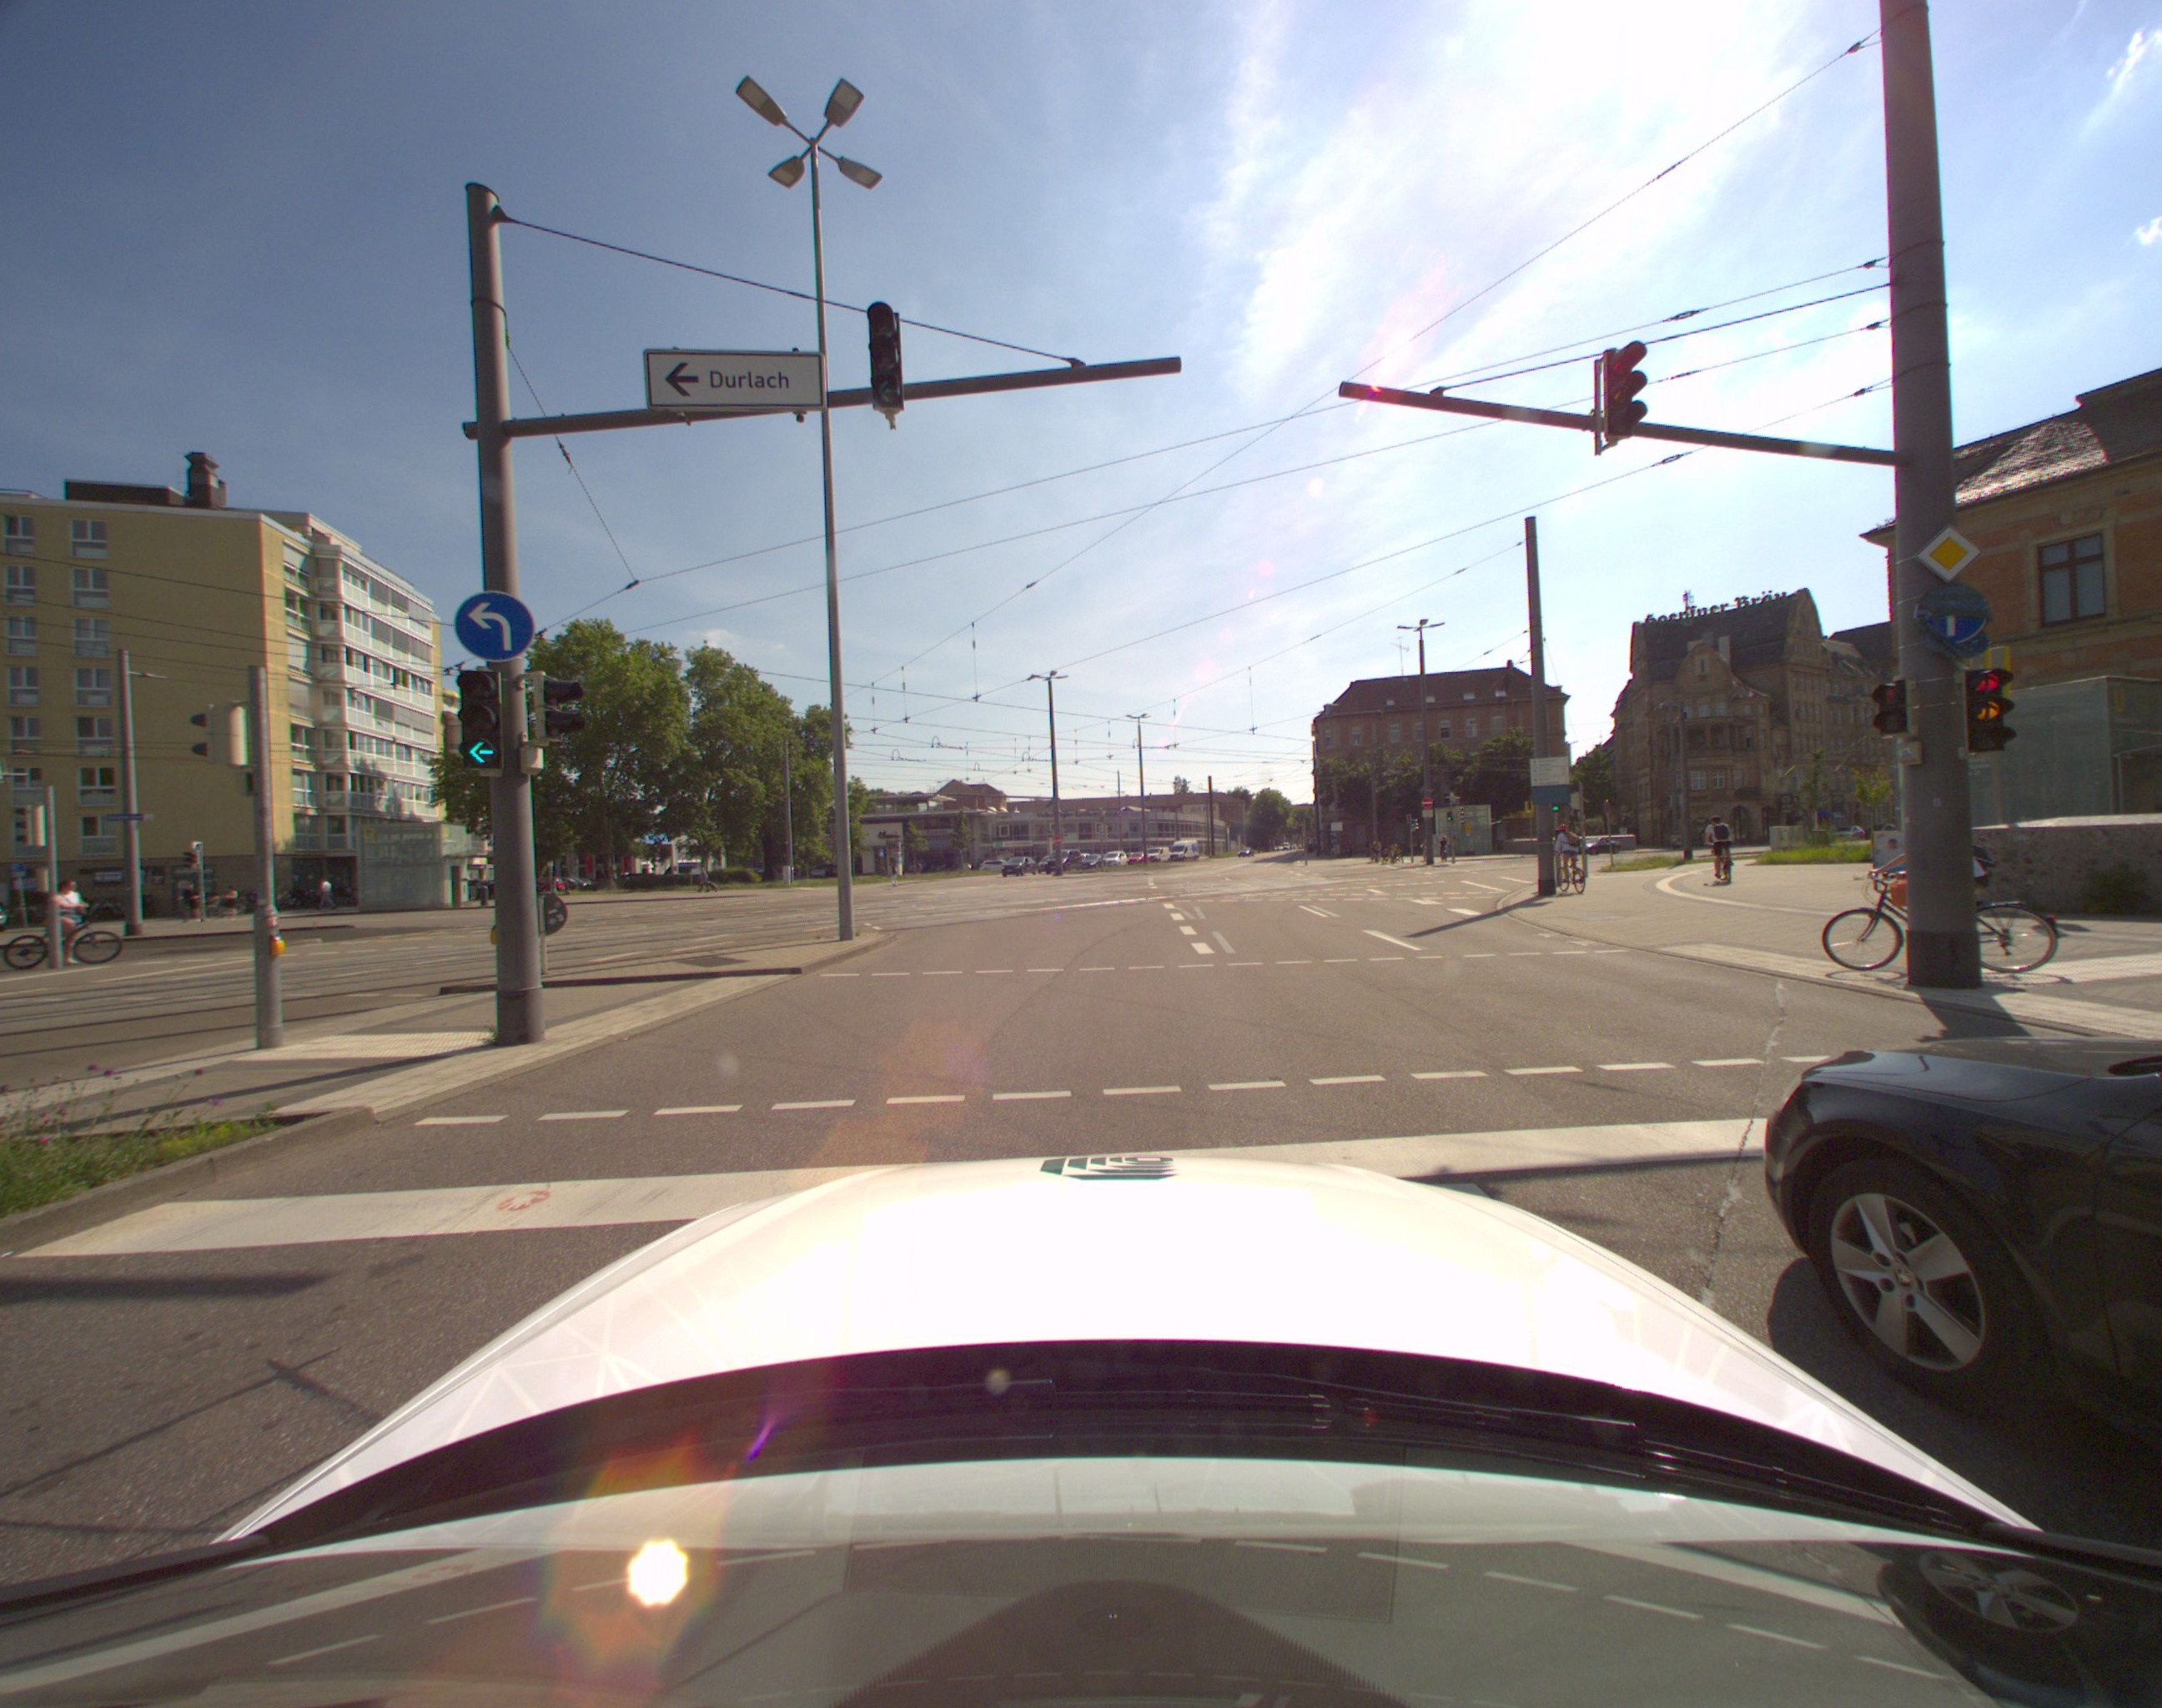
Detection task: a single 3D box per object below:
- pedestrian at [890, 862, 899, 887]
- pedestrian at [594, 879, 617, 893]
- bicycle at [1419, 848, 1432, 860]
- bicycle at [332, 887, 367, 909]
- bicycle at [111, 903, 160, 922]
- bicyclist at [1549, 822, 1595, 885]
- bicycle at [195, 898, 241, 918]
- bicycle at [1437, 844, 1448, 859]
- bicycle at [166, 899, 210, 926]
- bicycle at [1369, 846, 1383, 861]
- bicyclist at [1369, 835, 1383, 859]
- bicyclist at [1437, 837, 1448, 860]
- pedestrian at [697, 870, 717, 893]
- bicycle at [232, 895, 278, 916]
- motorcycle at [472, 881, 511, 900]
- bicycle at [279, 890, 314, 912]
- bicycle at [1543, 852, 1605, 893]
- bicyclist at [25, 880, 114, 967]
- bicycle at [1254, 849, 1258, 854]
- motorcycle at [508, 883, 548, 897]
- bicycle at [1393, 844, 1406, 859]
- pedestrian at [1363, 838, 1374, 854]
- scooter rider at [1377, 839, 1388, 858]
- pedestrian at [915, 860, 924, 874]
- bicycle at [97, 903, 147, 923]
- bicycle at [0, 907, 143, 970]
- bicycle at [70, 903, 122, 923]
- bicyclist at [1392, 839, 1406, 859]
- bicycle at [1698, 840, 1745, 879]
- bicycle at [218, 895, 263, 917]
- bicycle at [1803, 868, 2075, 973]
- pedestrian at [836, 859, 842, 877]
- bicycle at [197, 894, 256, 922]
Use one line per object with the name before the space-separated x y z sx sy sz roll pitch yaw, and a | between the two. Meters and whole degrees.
pedestrian | -12.114 1.354 52.834 0.456 1.605 0.396 0 -1 -34
pedestrian | -33.214 2.230 56.917 1.175 0.892 0.818 -2 0 -18
bicycle | 25.924 0.015 61.368 0.497 0.866 1.590 0 0 7
bicycle | -44.432 2.668 49.487 0.581 1.219 1.754 -3 1 -5
bicycle | -52.028 3.217 44.814 1.750 0.916 0.582 -3 1 -8
bicyclist | 13.610 -0.019 22.616 0.710 1.669 0.877 -5 -1 10
bicycle | -48.457 3.010 45.739 1.751 0.965 0.582 -3 1 -11
bicycle | 26.053 -0.203 58.710 0.661 1.069 2.478 -1 1 24
bicycle | -40.968 2.655 37.375 0.584 1.130 1.784 -3 -1 -21
bicycle | 22.281 -0.037 61.505 0.919 1.069 2.760 -1 -1 19
bicyclist | 22.247 -0.509 61.434 0.918 1.820 1.058 -1 -1 21
bicyclist | 25.741 -0.390 58.024 0.661 1.624 0.787 -1 0 24
pedestrian | -23.421 1.728 50.987 1.117 1.404 0.652 0 -1 -20
bicycle | -46.853 2.895 46.199 1.750 1.043 0.582 -3 1 -9
motorcycle | -35.791 2.222 49.467 2.019 1.062 0.642 -2 0 9
bicycle | -46.330 2.785 48.108 0.540 1.186 1.881 -2 0 -13
bicycle | 13.659 0.486 22.619 0.710 1.015 2.026 -5 0 10
bicyclist | -20.940 1.418 16.873 0.774 1.684 0.749 -4 0 -9
bicycle | 38.898 -0.565 181.212 0.746 1.194 2.851 -1 -1 16
motorcycle | -36.909 2.394 54.377 0.632 0.842 2.051 -2 0 35
bicycle | 23.627 -0.213 60.448 0.918 1.069 2.856 -1 1 21
pedestrian | 25.955 -0.749 73.502 0.616 1.433 0.705 0 -1 -36
scooter rider | 21.778 -0.412 58.834 0.584 1.397 0.407 0 -1 1
pedestrian | -18.151 1.498 91.408 0.951 1.580 0.534 0 -1 -2
bicycle | -52.105 3.213 44.250 1.750 0.916 0.582 -3 1 -8
bicycle | -20.939 1.730 16.879 1.843 1.083 0.749 -4 0 -9
bicycle | -53.603 3.225 44.321 1.754 0.916 0.581 -3 1 -15
bicyclist | 23.484 -0.402 60.135 0.918 1.451 1.258 -1 0 21
bicycle | 17.536 0.143 22.278 2.032 1.015 0.708 0 -1 -44
bicycle | -47.000 2.902 45.536 1.747 1.085 0.583 -3 3 -4
bicycle | 9.281 0.732 8.945 1.894 1.015 0.721 -5 -1 35
pedestrian | -22.716 1.311 76.459 0.388 1.596 0.466 -1 -1 25
bicycle | -39.326 2.482 37.499 0.749 1.130 1.798 -2 0 2
